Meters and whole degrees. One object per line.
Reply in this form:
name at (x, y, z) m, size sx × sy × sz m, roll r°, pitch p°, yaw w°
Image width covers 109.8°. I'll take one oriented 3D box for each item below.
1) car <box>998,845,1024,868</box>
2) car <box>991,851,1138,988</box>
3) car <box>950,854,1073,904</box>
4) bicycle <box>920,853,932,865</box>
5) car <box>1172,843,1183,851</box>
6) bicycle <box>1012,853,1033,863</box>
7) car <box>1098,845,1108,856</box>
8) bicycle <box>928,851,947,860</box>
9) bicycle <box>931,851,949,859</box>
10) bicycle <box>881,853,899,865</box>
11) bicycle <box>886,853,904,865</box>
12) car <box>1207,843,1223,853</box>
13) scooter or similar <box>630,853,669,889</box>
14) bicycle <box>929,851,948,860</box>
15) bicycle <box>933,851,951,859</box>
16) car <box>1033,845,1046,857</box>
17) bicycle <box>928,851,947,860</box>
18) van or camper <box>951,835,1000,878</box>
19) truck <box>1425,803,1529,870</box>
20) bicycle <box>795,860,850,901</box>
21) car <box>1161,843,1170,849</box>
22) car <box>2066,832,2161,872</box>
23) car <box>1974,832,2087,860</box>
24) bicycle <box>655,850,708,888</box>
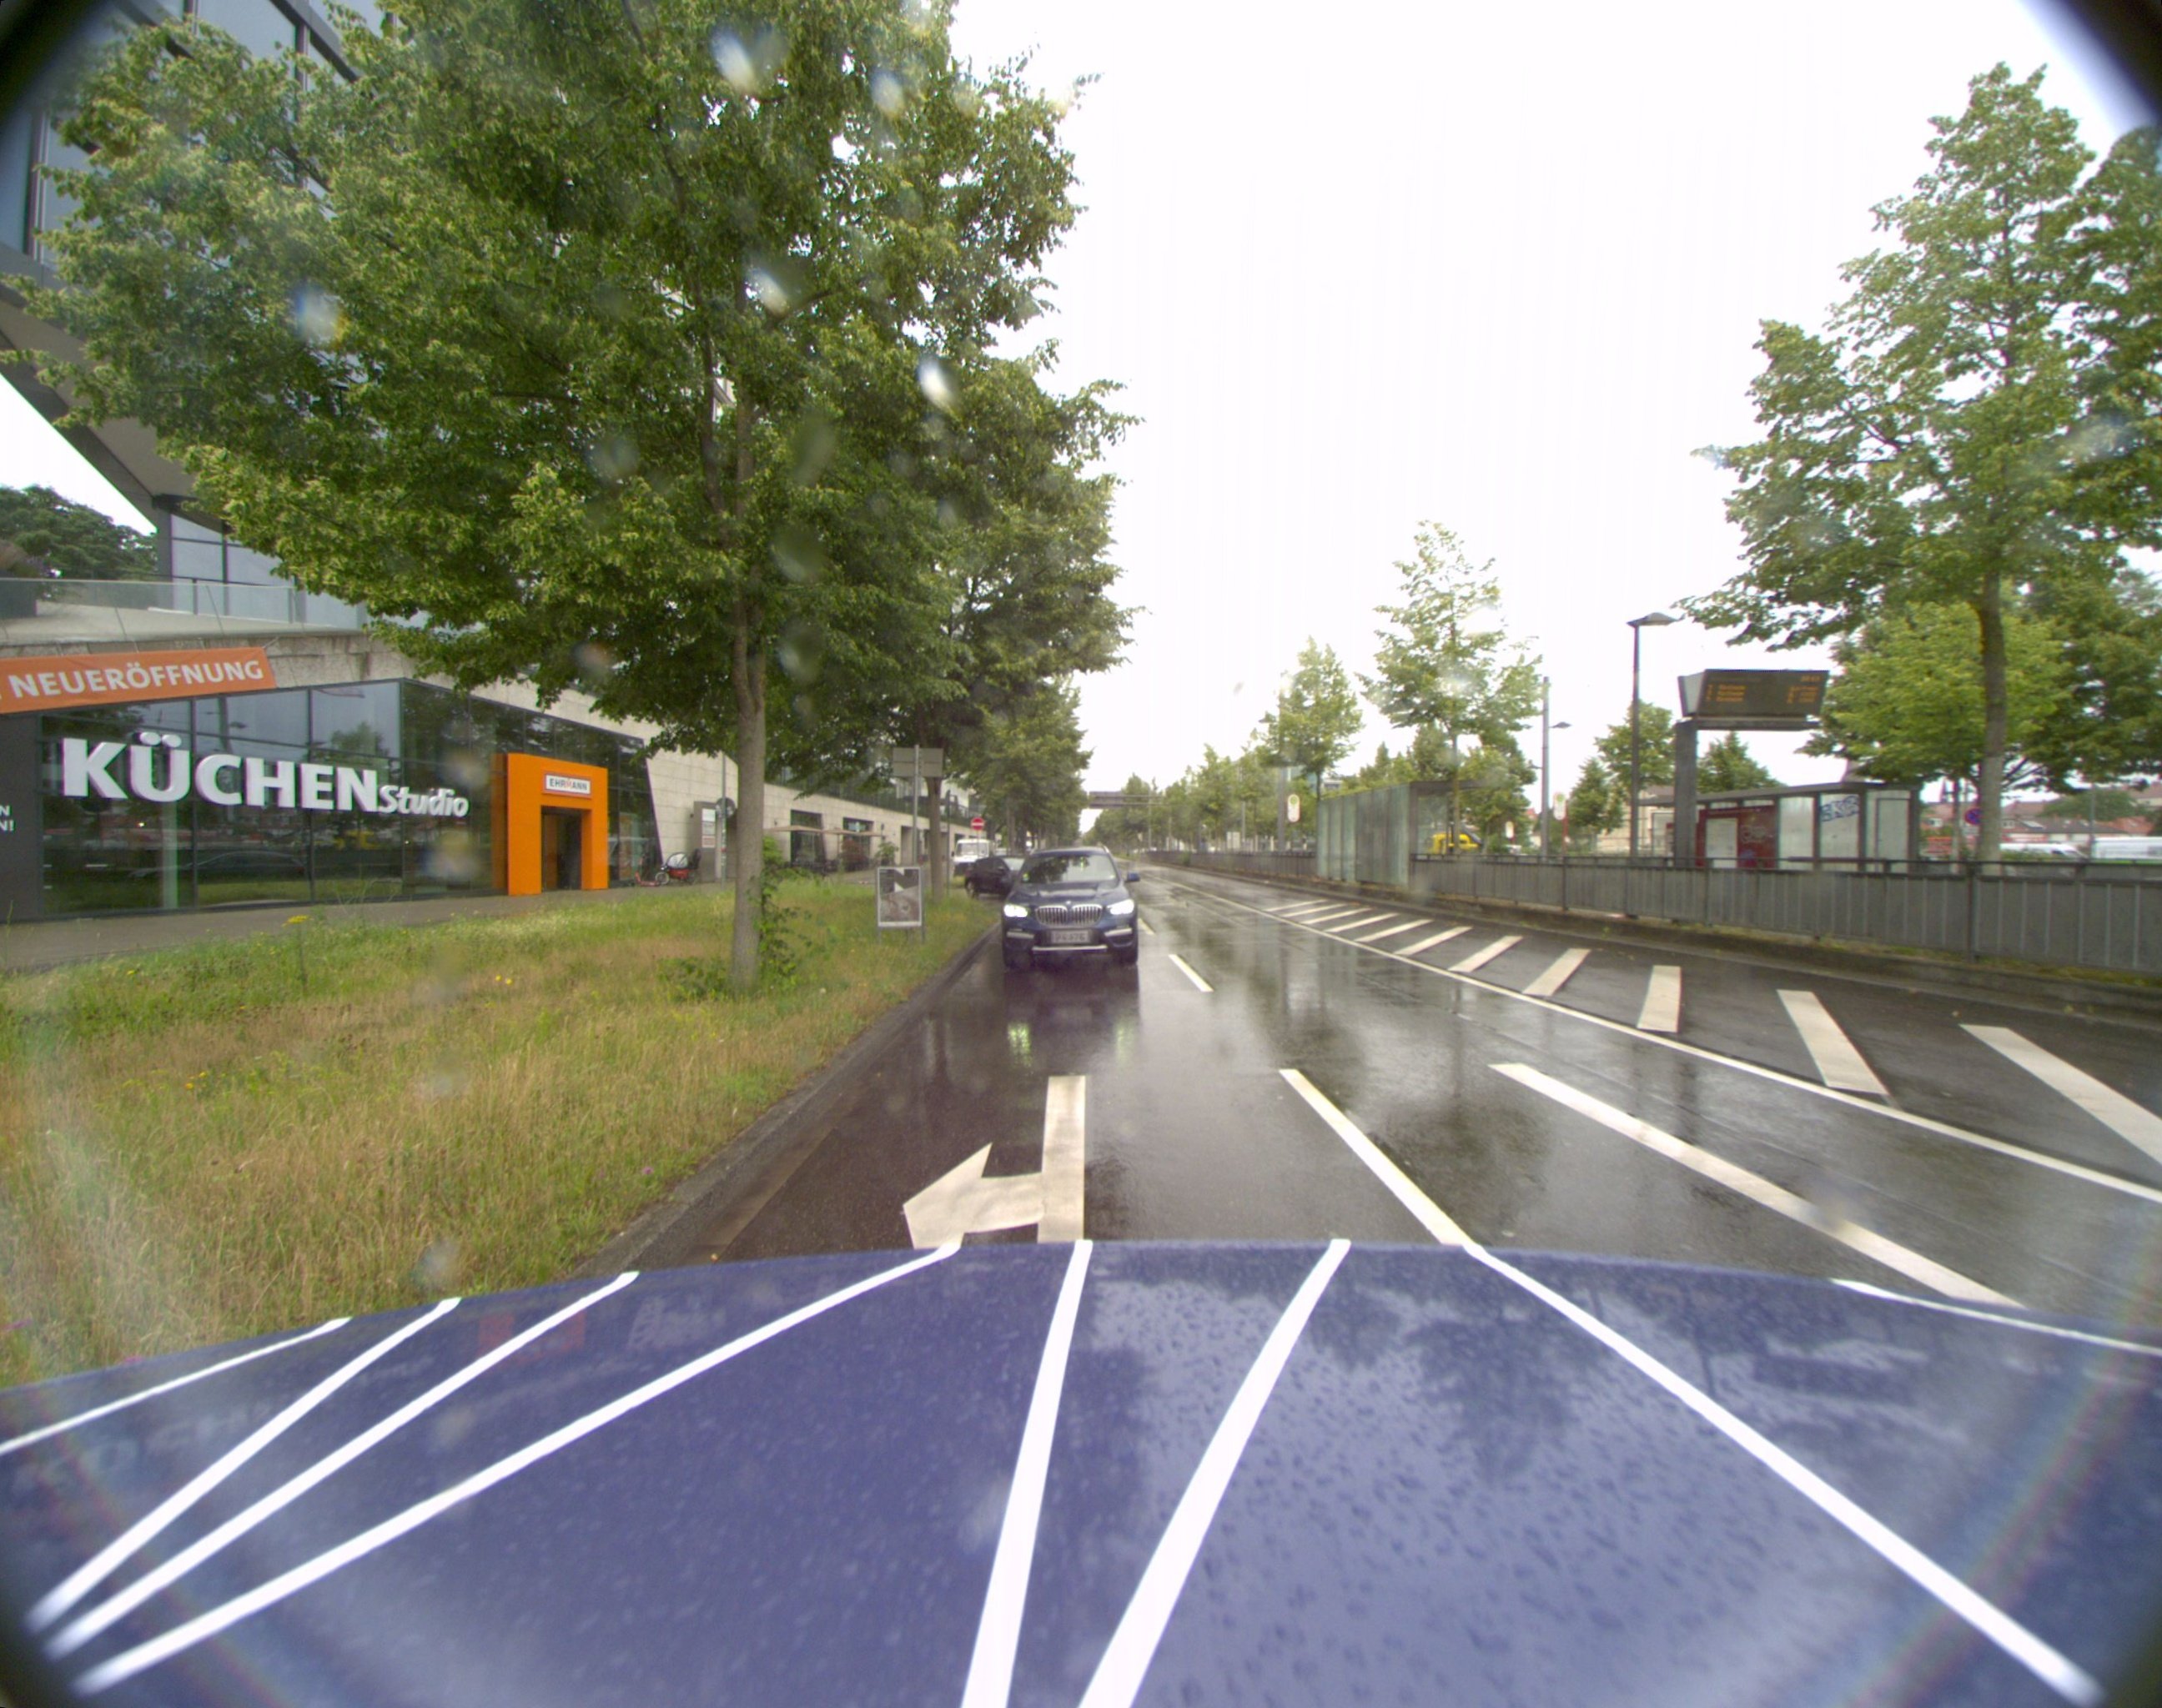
car at (-5.762, 0.157, 63.050) m, size 1.746 × 1.749 × 4.847 m, roll -1°, pitch 1°, yaw 0°
car at (-0.178, 0.828, 11.664) m, size 1.816 × 1.603 × 3.999 m, roll -2°, pitch 1°, yaw 1°
car at (-2.368, 0.749, 24.922) m, size 1.836 × 1.412 × 4.333 m, roll -2°, pitch 1°, yaw -40°
bicycle at (-13.134, 0.398, 64.510) m, size 0.402 × 0.940 × 1.859 m, roll -1°, pitch 1°, yaw 8°
car at (24.277, -1.765, 190.688) m, size 1.999 × 1.736 × 3.998 m, roll -2°, pitch 1°, yaw -2°
bicycle at (-5.873, 0.423, 76.418) m, size 2.040 × 0.940 × 0.395 m, roll -2°, pitch 2°, yaw -4°
car at (4.895, -0.820, 169.925) m, size 1.998 × 2.232 × 3.999 m, roll -2°, pitch 1°, yaw 1°
bicycle at (-15.813, 0.158, 83.510) m, size 2.029 × 0.940 × 0.395 m, roll 1°, pitch 1°, yaw -4°
bicycle at (-15.845, 0.125, 85.425) m, size 2.029 × 0.940 × 0.395 m, roll 1°, pitch 1°, yaw -4°
bicycle at (-15.405, 0.407, 61.358) m, size 0.396 × 0.940 × 2.024 m, roll -4°, pitch 2°, yaw -45°
bicycle at (-15.170, 0.385, 61.990) m, size 0.396 × 0.940 × 2.024 m, roll -4°, pitch 2°, yaw -45°
car at (25.110, -1.113, 142.669) m, size 1.999 × 1.736 × 3.998 m, roll -2°, pitch 1°, yaw -2°
scooter or similar at (-15.662, 0.606, 27.613) m, size 0.342 × 1.221 × 1.242 m, roll -2°, pitch 2°, yaw 19°
bicycle at (-15.886, 0.143, 84.843) m, size 2.029 × 0.940 × 0.395 m, roll 1°, pitch 1°, yaw -4°
bicycle at (-15.842, 0.117, 86.678) m, size 2.029 × 0.940 × 0.395 m, roll 1°, pitch 1°, yaw -4°
car at (-6.039, -0.438, 111.612) m, size 1.659 × 1.711 × 3.999 m, roll -2°, pitch 1°, yaw 0°
bicycle at (-15.862, 0.150, 84.249) m, size 2.029 × 0.940 × 0.395 m, roll 1°, pitch 1°, yaw -4°
van or camper at (-5.921, 0.108, 43.278) m, size 2.030 × 2.279 × 5.458 m, roll -1°, pitch 1°, yaw 0°
truck at (24.681, -1.101, 47.988) m, size 2.692 × 3.756 × 9.185 m, roll -2°, pitch 1°, yaw 7°
bicycle at (-8.612, 0.866, 25.286) m, size 1.843 × 1.338 × 0.533 m, roll -1°, pitch 0°, yaw 26°
car at (24.423, -2.378, 219.819) m, size 1.999 × 1.736 × 3.998 m, roll -2°, pitch 1°, yaw -2°
car at (70.076, -0.148, 49.790) m, size 1.999 × 2.448 × 6.744 m, roll -2°, pitch 1°, yaw -4°
car at (84.242, -0.738, 67.581) m, size 2.000 × 2.293 × 6.138 m, roll -3°, pitch 1°, yaw -9°
bicycle at (-15.477, 0.548, 29.503) m, size 0.734 × 1.394 × 2.425 m, roll 1°, pitch 0°, yaw 1°
